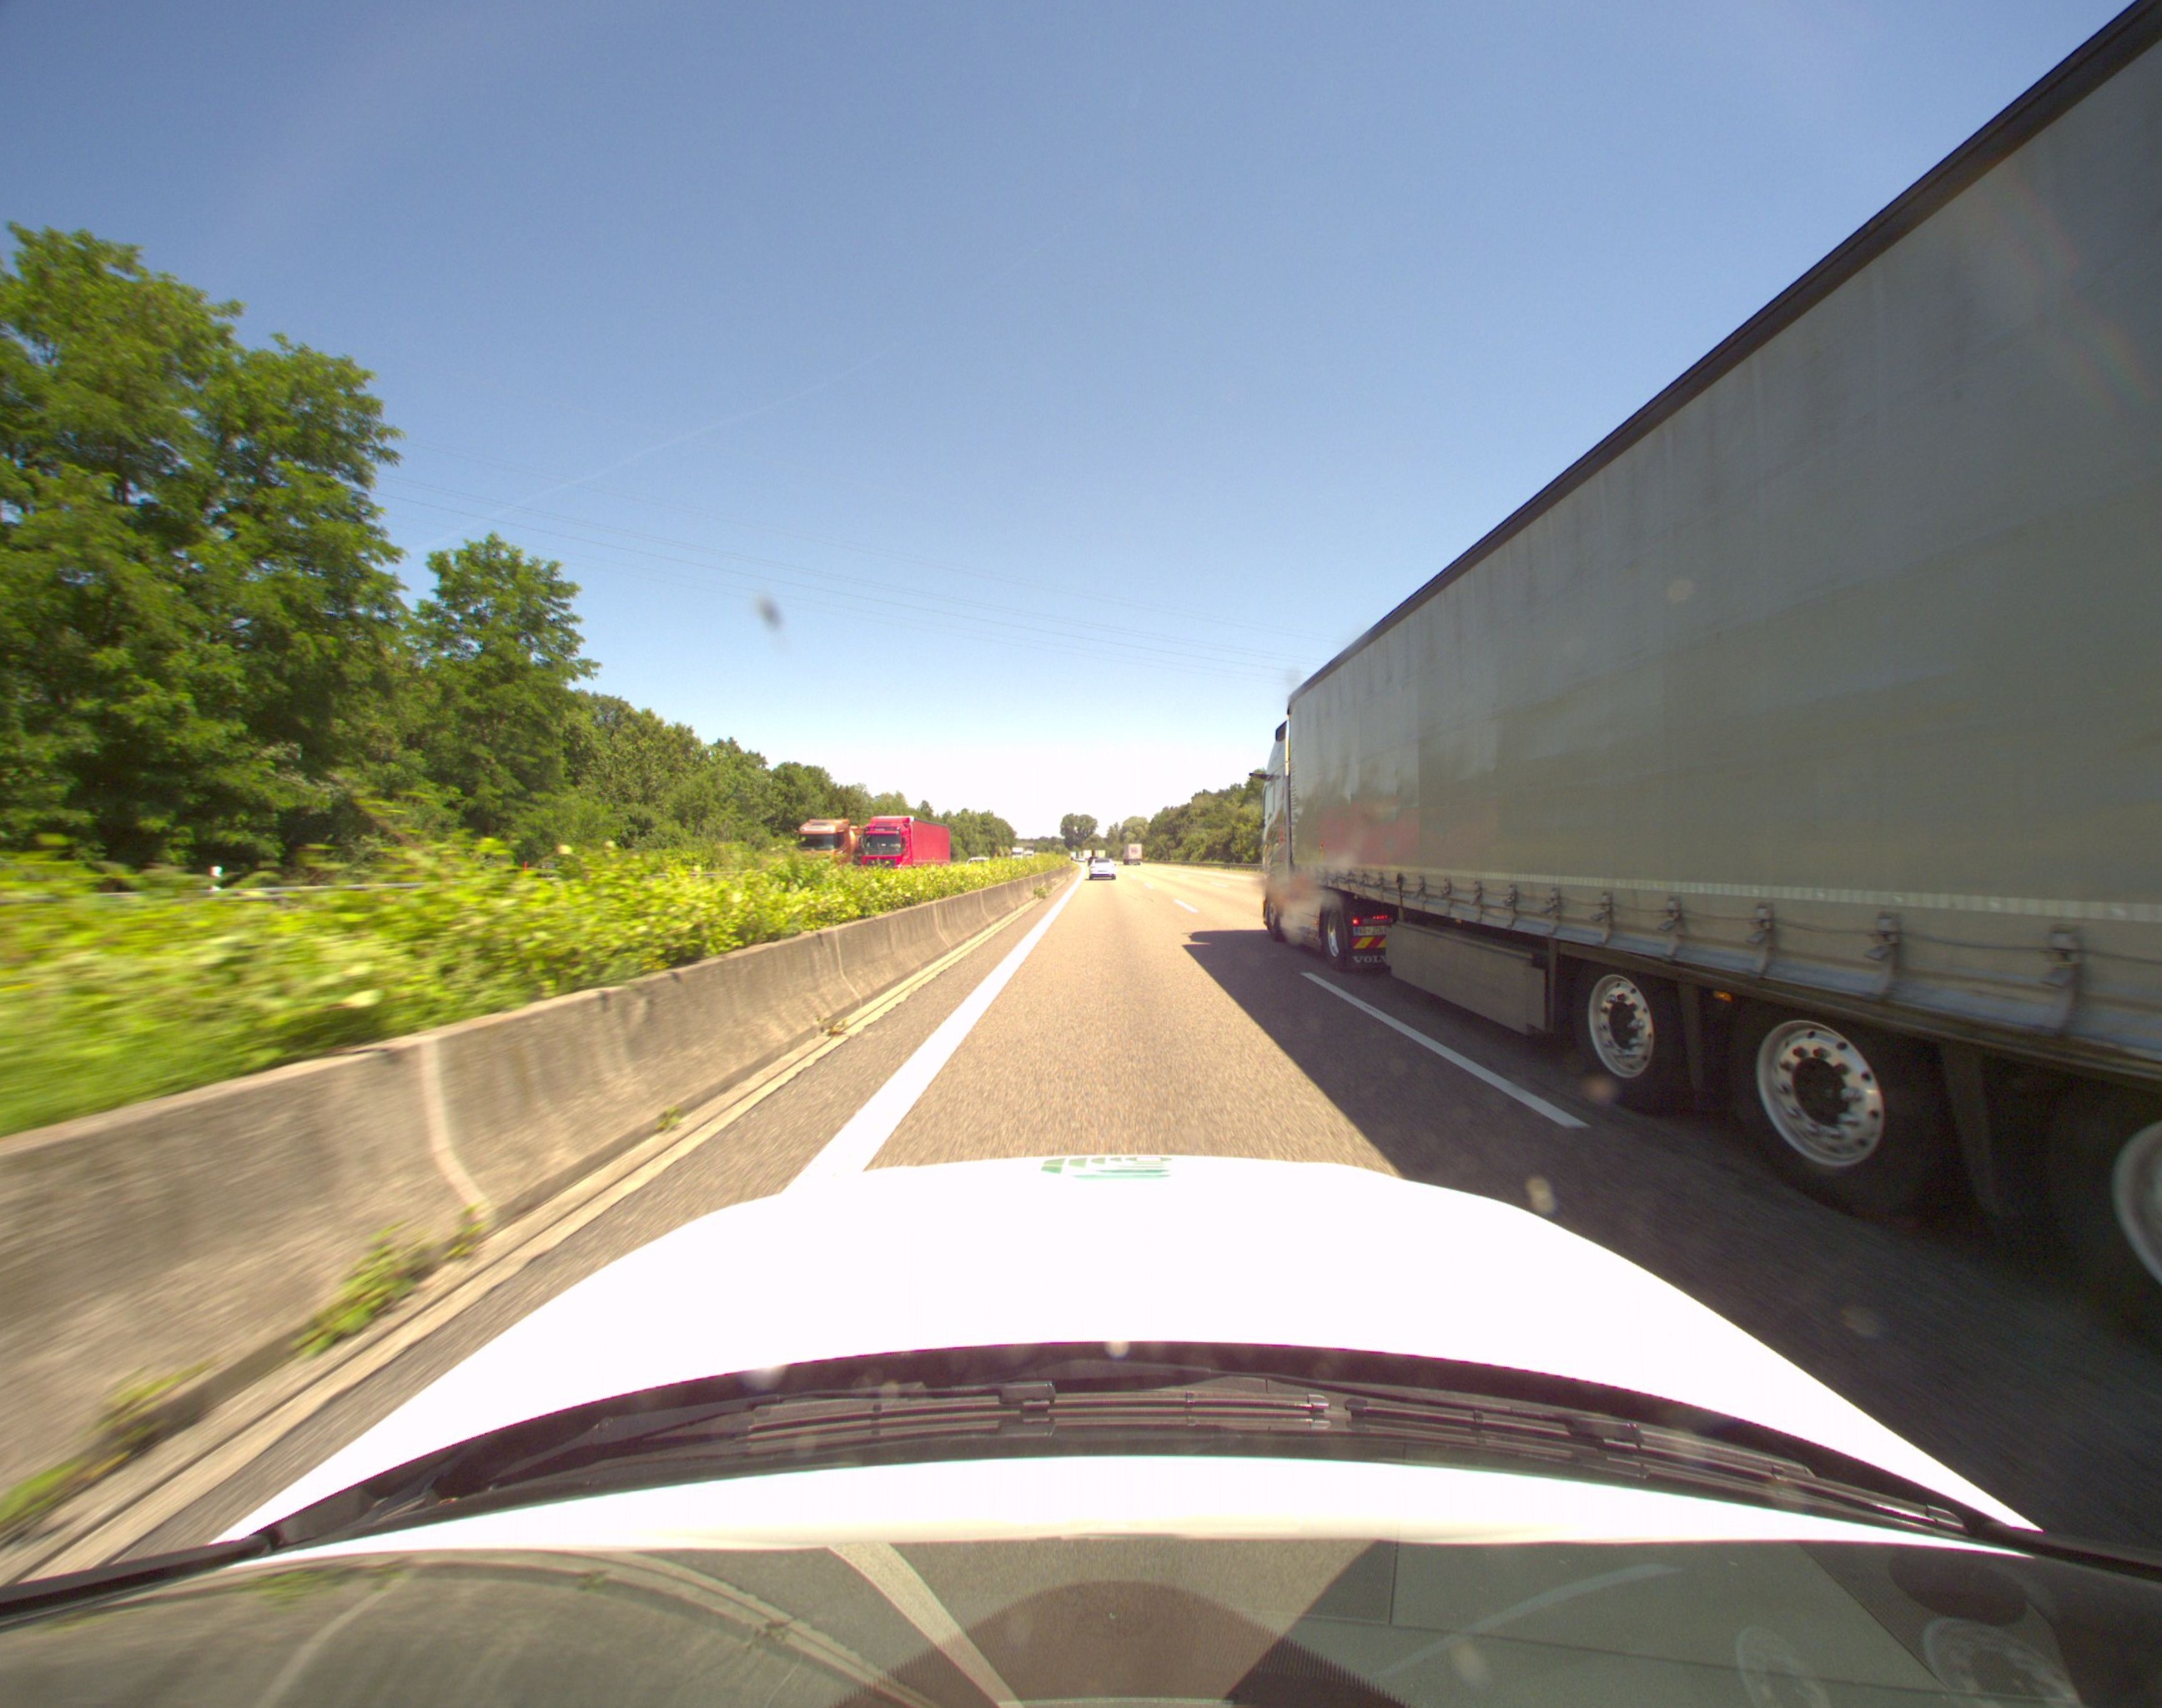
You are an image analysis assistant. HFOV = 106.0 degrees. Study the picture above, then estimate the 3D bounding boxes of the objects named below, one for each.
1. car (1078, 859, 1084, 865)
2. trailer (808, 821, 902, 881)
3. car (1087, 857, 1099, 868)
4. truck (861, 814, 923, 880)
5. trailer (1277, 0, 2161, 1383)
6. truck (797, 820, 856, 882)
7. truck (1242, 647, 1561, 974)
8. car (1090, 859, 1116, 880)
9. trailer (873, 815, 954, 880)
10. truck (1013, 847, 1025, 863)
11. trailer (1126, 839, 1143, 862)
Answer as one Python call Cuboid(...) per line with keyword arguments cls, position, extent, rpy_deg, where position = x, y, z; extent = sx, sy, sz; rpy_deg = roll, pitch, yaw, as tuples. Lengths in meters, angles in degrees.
Cuboid(cls="car", position=(-0.102, 2.355, 245.776), extent=(1.719, 1.783, 3.997), rpy_deg=(-1, 0, -2))
Cuboid(cls="trailer", position=(-15.399, -0.150, 56.927), extent=(2.363, 3.595, 14.221), rpy_deg=(-1, 0, 1))
Cuboid(cls="car", position=(2.038, 1.438, 140.090), extent=(1.988, 1.772, 3.998), rpy_deg=(-1, 0, -1))
Cuboid(cls="truck", position=(-11.446, -0.397, 49.799), extent=(2.457, 3.788, 5.728), rpy_deg=(0, 0, 0))
Cuboid(cls="trailer", position=(4.374, -0.551, 6.277), extent=(2.730, 3.975, 13.657), rpy_deg=(0, 0, 1))
Cuboid(cls="truck", position=(-15.469, -0.147, 49.722), extent=(2.350, 3.601, 4.162), rpy_deg=(-1, 0, -1))
Cuboid(cls="truck", position=(4.543, -0.524, 13.187), extent=(2.713, 3.975, 6.503), rpy_deg=(0, 0, 1))
Cuboid(cls="car", position=(1.520, 1.058, 55.714), extent=(1.709, 1.369, 3.377), rpy_deg=(0, 0, 2))
Cuboid(cls="trailer", position=(-11.363, -0.377, 56.936), extent=(2.457, 3.935, 14.400), rpy_deg=(-1, 0, 1))
Cuboid(cls="truck", position=(-15.810, 0.207, 207.957), extent=(2.651, 3.985, 6.554), rpy_deg=(0, 0, 1))
Cuboid(cls="trailer", position=(10.233, -0.634, 156.893), extent=(2.615, 4.261, 14.060), rpy_deg=(0, 0, 0))
